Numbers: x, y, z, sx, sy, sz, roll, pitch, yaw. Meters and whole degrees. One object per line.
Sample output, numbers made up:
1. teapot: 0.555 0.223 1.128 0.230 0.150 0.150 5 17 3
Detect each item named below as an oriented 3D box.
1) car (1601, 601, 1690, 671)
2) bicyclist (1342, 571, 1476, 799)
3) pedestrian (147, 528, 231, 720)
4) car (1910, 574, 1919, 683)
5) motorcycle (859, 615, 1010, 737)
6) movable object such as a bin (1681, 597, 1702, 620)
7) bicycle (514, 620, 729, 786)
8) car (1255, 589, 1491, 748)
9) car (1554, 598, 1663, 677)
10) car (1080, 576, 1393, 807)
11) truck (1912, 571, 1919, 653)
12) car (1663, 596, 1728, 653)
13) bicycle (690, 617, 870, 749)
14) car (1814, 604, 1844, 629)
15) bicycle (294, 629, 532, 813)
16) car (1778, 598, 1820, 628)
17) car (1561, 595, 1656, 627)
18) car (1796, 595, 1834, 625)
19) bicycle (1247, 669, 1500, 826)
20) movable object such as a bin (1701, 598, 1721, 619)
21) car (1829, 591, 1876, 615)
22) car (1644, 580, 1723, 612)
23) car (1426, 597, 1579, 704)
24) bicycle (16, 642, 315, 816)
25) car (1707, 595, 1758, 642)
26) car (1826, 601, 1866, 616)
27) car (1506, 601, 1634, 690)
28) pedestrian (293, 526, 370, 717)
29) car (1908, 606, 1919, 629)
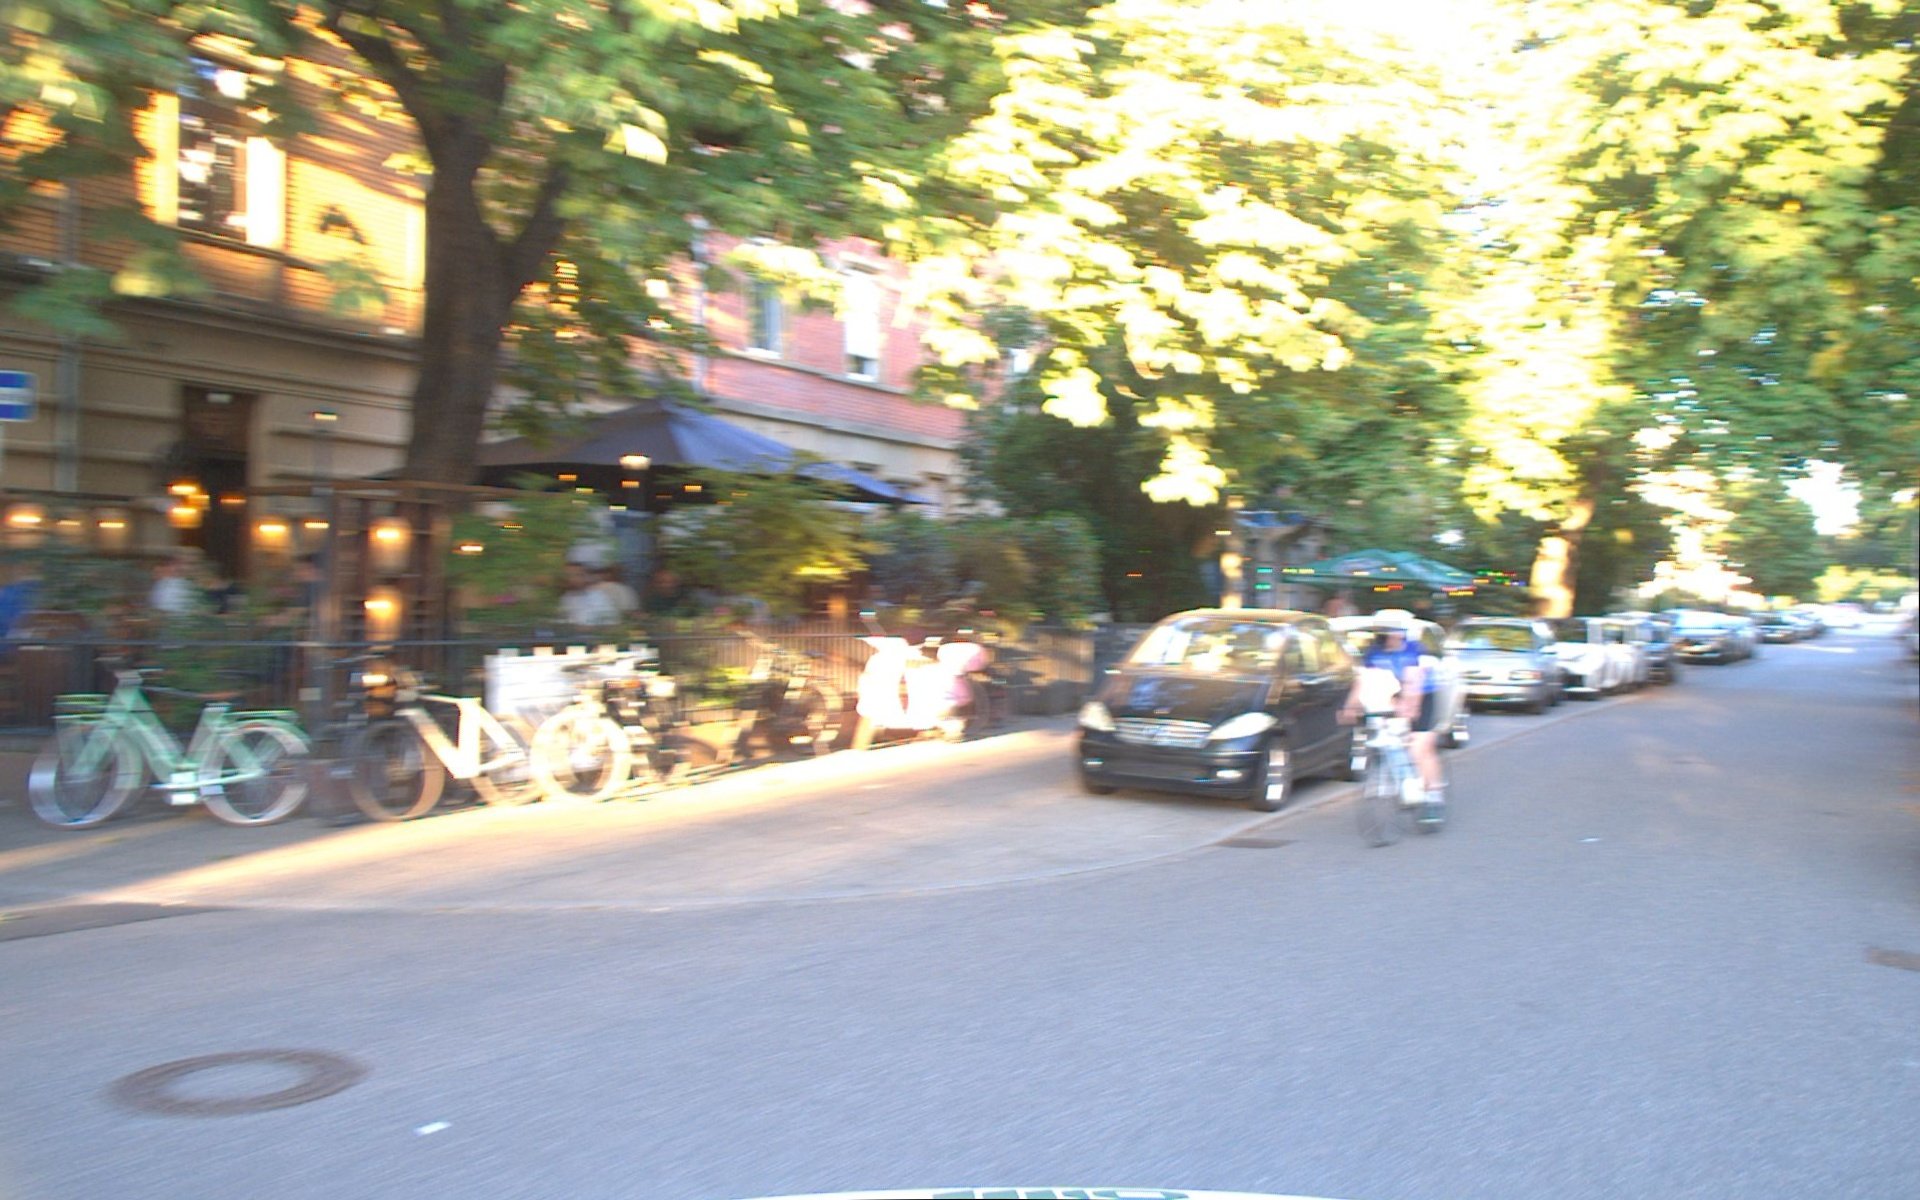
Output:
1. car: 15.952 0.792 38.406 1.522 1.511 3.688 0 0 28
2. bicyclist: 3.270 0.592 12.058 0.809 1.604 0.506 -1 1 -23
3. pedestrian: -6.047 0.178 12.986 0.419 1.476 0.463 0 1 -1
4. car: 18.823 0.516 30.449 1.916 2.095 4.826 -3 -1 26
5. motorcycle: -0.242 0.770 17.388 0.385 1.206 1.946 2 1 39
6. movable object such as a bin: 48.648 0.582 110.033 1.073 1.439 1.006 2 2 17
7. bicycle: -2.670 0.778 13.272 0.384 1.206 1.951 4 2 33
8. car: 4.741 0.675 18.658 1.633 1.519 3.704 3 2 29
9. car: 13.992 0.768 35.593 1.523 1.511 3.685 3 2 31
10. car: 2.610 0.689 14.872 1.632 1.706 3.842 3 2 27
11. truck: 27.345 0.305 45.205 1.916 2.286 4.640 -3 -1 26
12. car: 23.108 0.730 51.892 1.657 1.590 4.399 3 2 26
13. bicycle: -1.676 0.761 15.700 0.385 1.163 1.946 3 1 39
14. car: 59.162 1.123 112.580 1.684 1.593 3.780 1 1 30
15. bicycle: -3.857 0.819 11.794 0.384 1.164 1.741 2 1 34
16. car: 43.738 0.642 86.204 1.587 1.496 3.950 1 1 32
17. car: 31.984 0.505 81.629 4.029 1.472 1.700 1 1 40
18. car: 51.940 0.605 100.420 1.886 1.747 4.419 1 1 30
19. bicycle: 2.991 1.031 11.903 1.877 1.052 0.534 1 -2 -27
20. movable object such as a bin: 49.773 0.581 109.551 0.996 1.344 1.001 3 2 35
21. car: 92.128 0.269 170.718 4.268 2.358 1.742 1 0 29
22. car: 42.068 -0.243 96.183 4.017 1.554 1.706 4 2 30
23. car: 8.840 0.737 26.719 1.804 1.435 4.598 3 2 24
24. bicycle: -5.420 0.866 11.344 1.789 1.117 0.392 -1 1 -8
25. car: 27.709 0.634 59.302 1.521 1.507 3.690 3 2 26
26. car: 90.351 0.884 168.658 3.548 1.487 1.605 1 0 27
27. car: 11.636 0.810 31.422 1.574 1.460 3.877 3 2 30
28. pedestrian: -4.956 0.162 13.058 0.419 1.476 0.463 0 1 -1
29. car: 61.903 1.099 106.228 1.655 1.466 4.202 -2 -1 30
